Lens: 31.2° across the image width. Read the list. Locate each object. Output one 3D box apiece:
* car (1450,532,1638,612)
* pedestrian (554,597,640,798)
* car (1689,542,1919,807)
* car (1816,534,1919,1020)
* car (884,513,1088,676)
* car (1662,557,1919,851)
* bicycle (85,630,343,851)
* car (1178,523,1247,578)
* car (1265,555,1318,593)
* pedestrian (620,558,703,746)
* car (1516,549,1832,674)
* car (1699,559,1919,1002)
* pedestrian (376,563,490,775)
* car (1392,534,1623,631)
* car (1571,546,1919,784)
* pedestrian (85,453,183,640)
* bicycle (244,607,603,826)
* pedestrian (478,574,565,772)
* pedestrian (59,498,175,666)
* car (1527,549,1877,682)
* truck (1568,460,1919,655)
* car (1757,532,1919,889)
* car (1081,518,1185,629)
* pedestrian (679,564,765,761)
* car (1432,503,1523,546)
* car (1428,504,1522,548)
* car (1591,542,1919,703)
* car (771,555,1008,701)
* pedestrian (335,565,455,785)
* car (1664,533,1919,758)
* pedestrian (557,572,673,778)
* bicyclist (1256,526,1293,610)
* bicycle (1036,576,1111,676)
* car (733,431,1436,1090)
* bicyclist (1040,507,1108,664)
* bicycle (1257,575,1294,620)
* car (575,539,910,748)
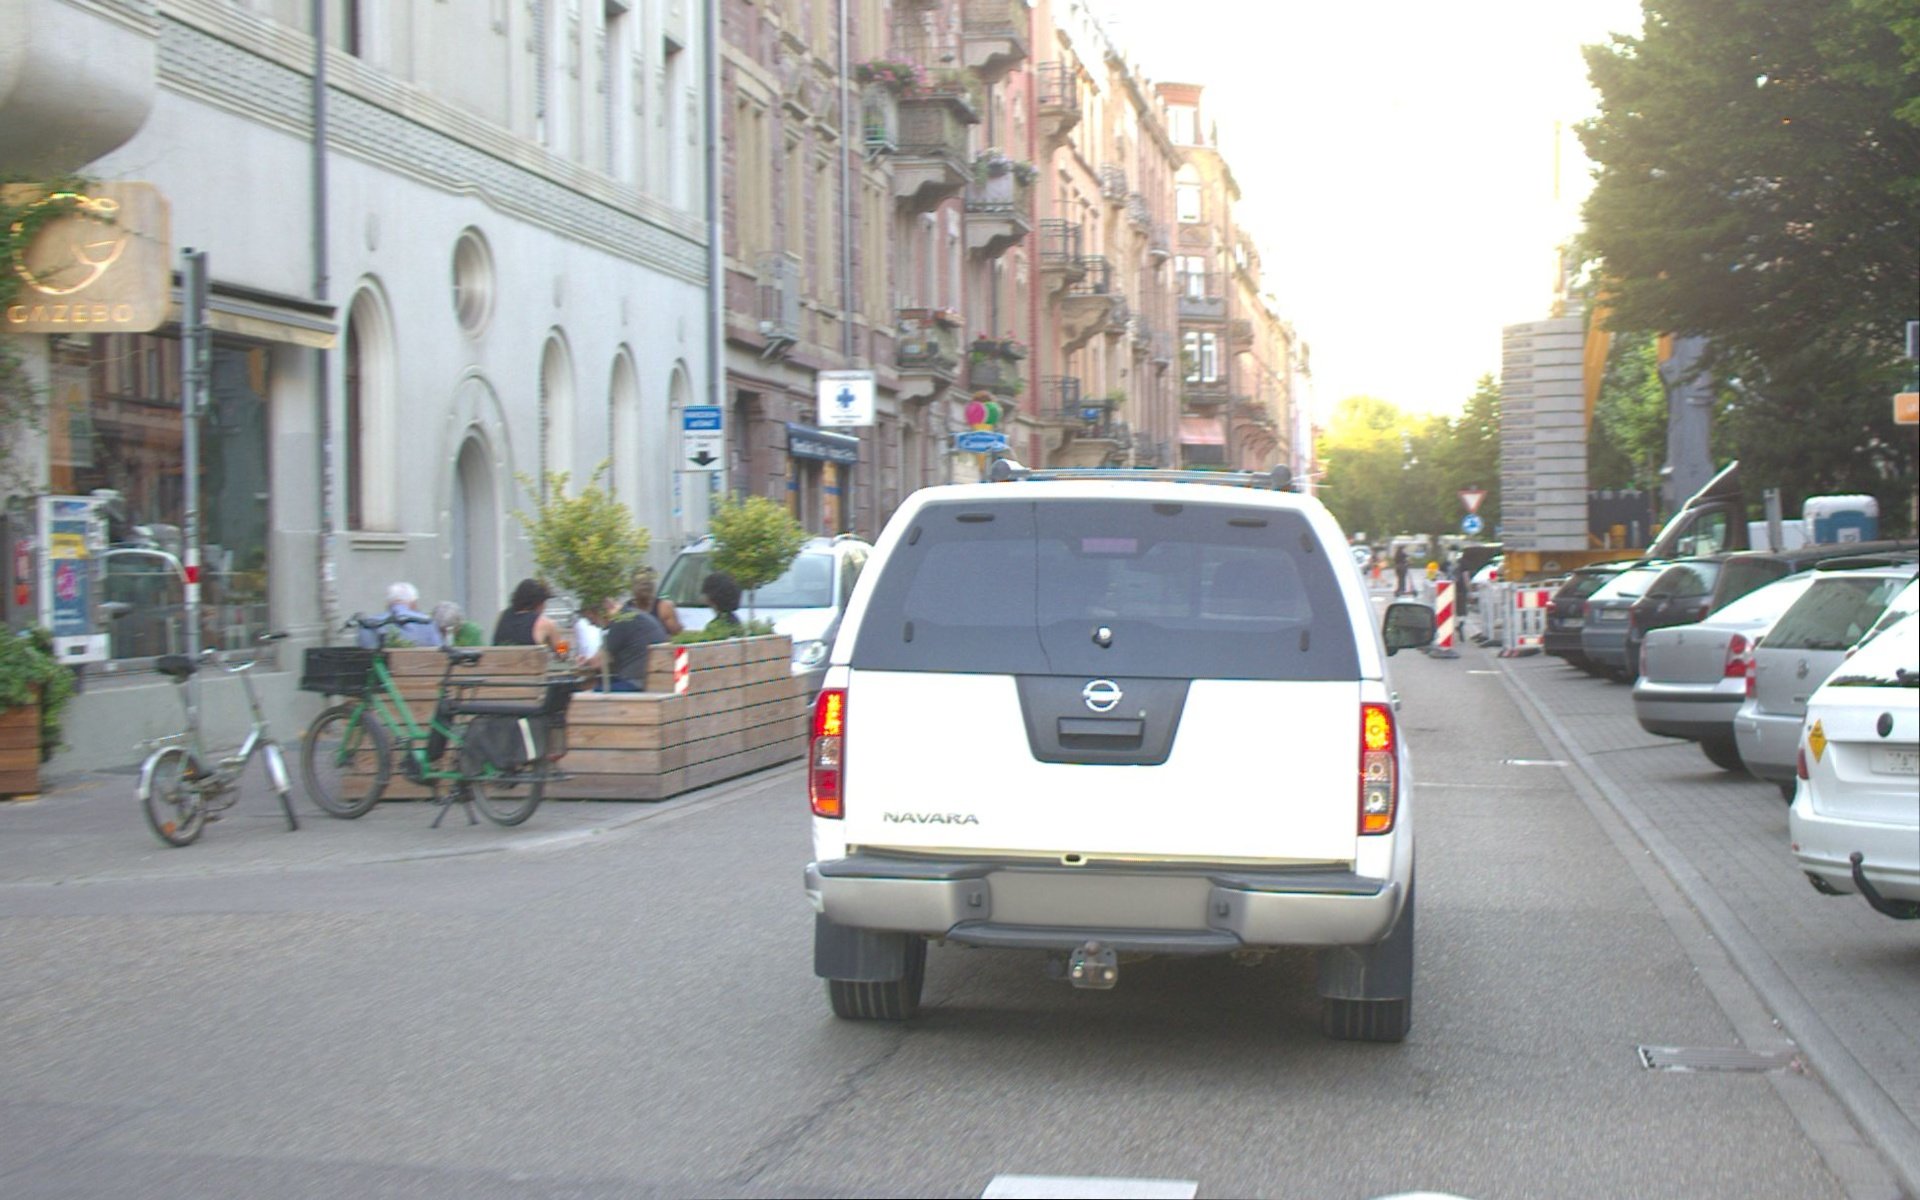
[{"bbox_3d":[13.375,-0.651,78.728,4.197,1.774,1.819,0,1,11],"label":"car"},{"bbox_3d":[-2.482,0.659,23.530,0.468,1.345,0.611,0,1,6],"label":"pedestrian"},{"bbox_3d":[6.507,0.399,21.311,3.593,1.529,1.563,-1,1,-20],"label":"car"},{"bbox_3d":[4.968,0.511,11.158,3.986,1.518,1.710,-1,-1,-23],"label":"car"},{"bbox_3d":[0.394,-0.104,43.221,1.905,1.919,4.945,0,1,8],"label":"car"},{"bbox_3d":[5.888,0.499,18.878,3.593,1.477,1.723,-1,1,-20],"label":"car"},{"bbox_3d":[-3.844,0.701,17.841,0.424,1.009,1.717,0,2,21],"label":"bicycle"},{"bbox_3d":[7.178,-1.403,97.366,1.710,1.525,3.999,0,1,7],"label":"car"},{"bbox_3d":[13.923,-1.090,144.161,1.847,1.546,4.353,0,1,10],"label":"car"},{"bbox_3d":[-2.157,0.370,24.904,0.517,1.345,0.540,0,1,5],"label":"pedestrian"},{"bbox_3d":[9.133,0.127,43.904,3.881,1.525,1.638,0,1,-32],"label":"car"},{"bbox_3d":[5.003,0.597,13.263,3.986,1.532,1.636,-1,1,-23],"label":"car"},{"bbox_3d":[-3.348,0.427,21.887,0.537,1.320,0.705,0,1,8],"label":"pedestrian"},{"bbox_3d":[10.419,-0.350,65.305,4.198,1.774,1.818,1,1,13],"label":"car"},{"bbox_3d":[6.652,0.393,23.897,4.371,1.529,1.808,-1,1,-16],"label":"car"},{"bbox_3d":[-6.022,-0.390,25.088,0.538,1.345,0.518,0,1,8],"label":"pedestrian"},{"bbox_3d":[-2.929,0.607,18.659,2.114,1.091,0.500,1,2,32],"label":"bicycle"},{"bbox_3d":[-3.016,0.494,23.667,0.468,1.345,0.611,0,1,6],"label":"pedestrian"},{"bbox_3d":[-5.841,-0.129,23.845,0.557,1.150,0.748,0,1,7],"label":"pedestrian"},{"bbox_3d":[8.924,0.156,41.303,3.824,1.432,1.763,-2,2,-27],"label":"car"},{"bbox_3d":[12.886,-0.651,54.565,6.323,2.966,2.263,0,-2,9],"label":"truck"},{"bbox_3d":[5.738,0.452,16.117,3.593,1.575,1.716,-1,1,-25],"label":"car"},{"bbox_3d":[3.163,-0.498,62.439,1.559,1.914,3.855,2,1,7],"label":"car"},{"bbox_3d":[-1.651,0.426,23.934,0.484,1.345,0.669,0,1,6],"label":"pedestrian"},{"bbox_3d":[26.626,-3.866,176.860,4.590,2.170,1.819,0,1,11],"label":"car"},{"bbox_3d":[25.898,-3.732,172.937,4.590,2.170,1.819,0,1,11],"label":"car"},{"bbox_3d":[8.438,0.201,35.342,3.395,1.469,1.775,-2,2,-23],"label":"car"},{"bbox_3d":[-0.696,0.257,37.396,1.912,1.467,4.533,1,1,7],"label":"car"},{"bbox_3d":[-3.449,0.446,21.006,0.537,1.320,0.705,0,1,8],"label":"pedestrian"},{"bbox_3d":[7.744,0.294,26.854,3.986,1.631,1.759,-2,1,-12],"label":"car"},{"bbox_3d":[-2.262,0.480,22.601,0.609,1.320,0.770,0,1,6],"label":"pedestrian"},{"bbox_3d":[6.951,-0.702,75.911,0.800,1.843,0.943,0,1,5],"label":"bicyclist"},{"bbox_3d":[1.239,0.267,37.260,0.615,1.036,1.903,0,1,7],"label":"bicycle"},{"bbox_3d":[0.575,0.422,12.004,1.934,1.788,4.621,2,1,6],"label":"car"},{"bbox_3d":[1.246,-0.162,37.315,0.603,1.679,1.142,0,1,8],"label":"bicyclist"},{"bbox_3d":[6.975,-0.061,75.998,0.800,0.944,2.004,0,1,5],"label":"bicycle"},{"bbox_3d":[-1.705,0.308,28.478,1.994,1.586,4.313,-1,1,7],"label":"car"}]
